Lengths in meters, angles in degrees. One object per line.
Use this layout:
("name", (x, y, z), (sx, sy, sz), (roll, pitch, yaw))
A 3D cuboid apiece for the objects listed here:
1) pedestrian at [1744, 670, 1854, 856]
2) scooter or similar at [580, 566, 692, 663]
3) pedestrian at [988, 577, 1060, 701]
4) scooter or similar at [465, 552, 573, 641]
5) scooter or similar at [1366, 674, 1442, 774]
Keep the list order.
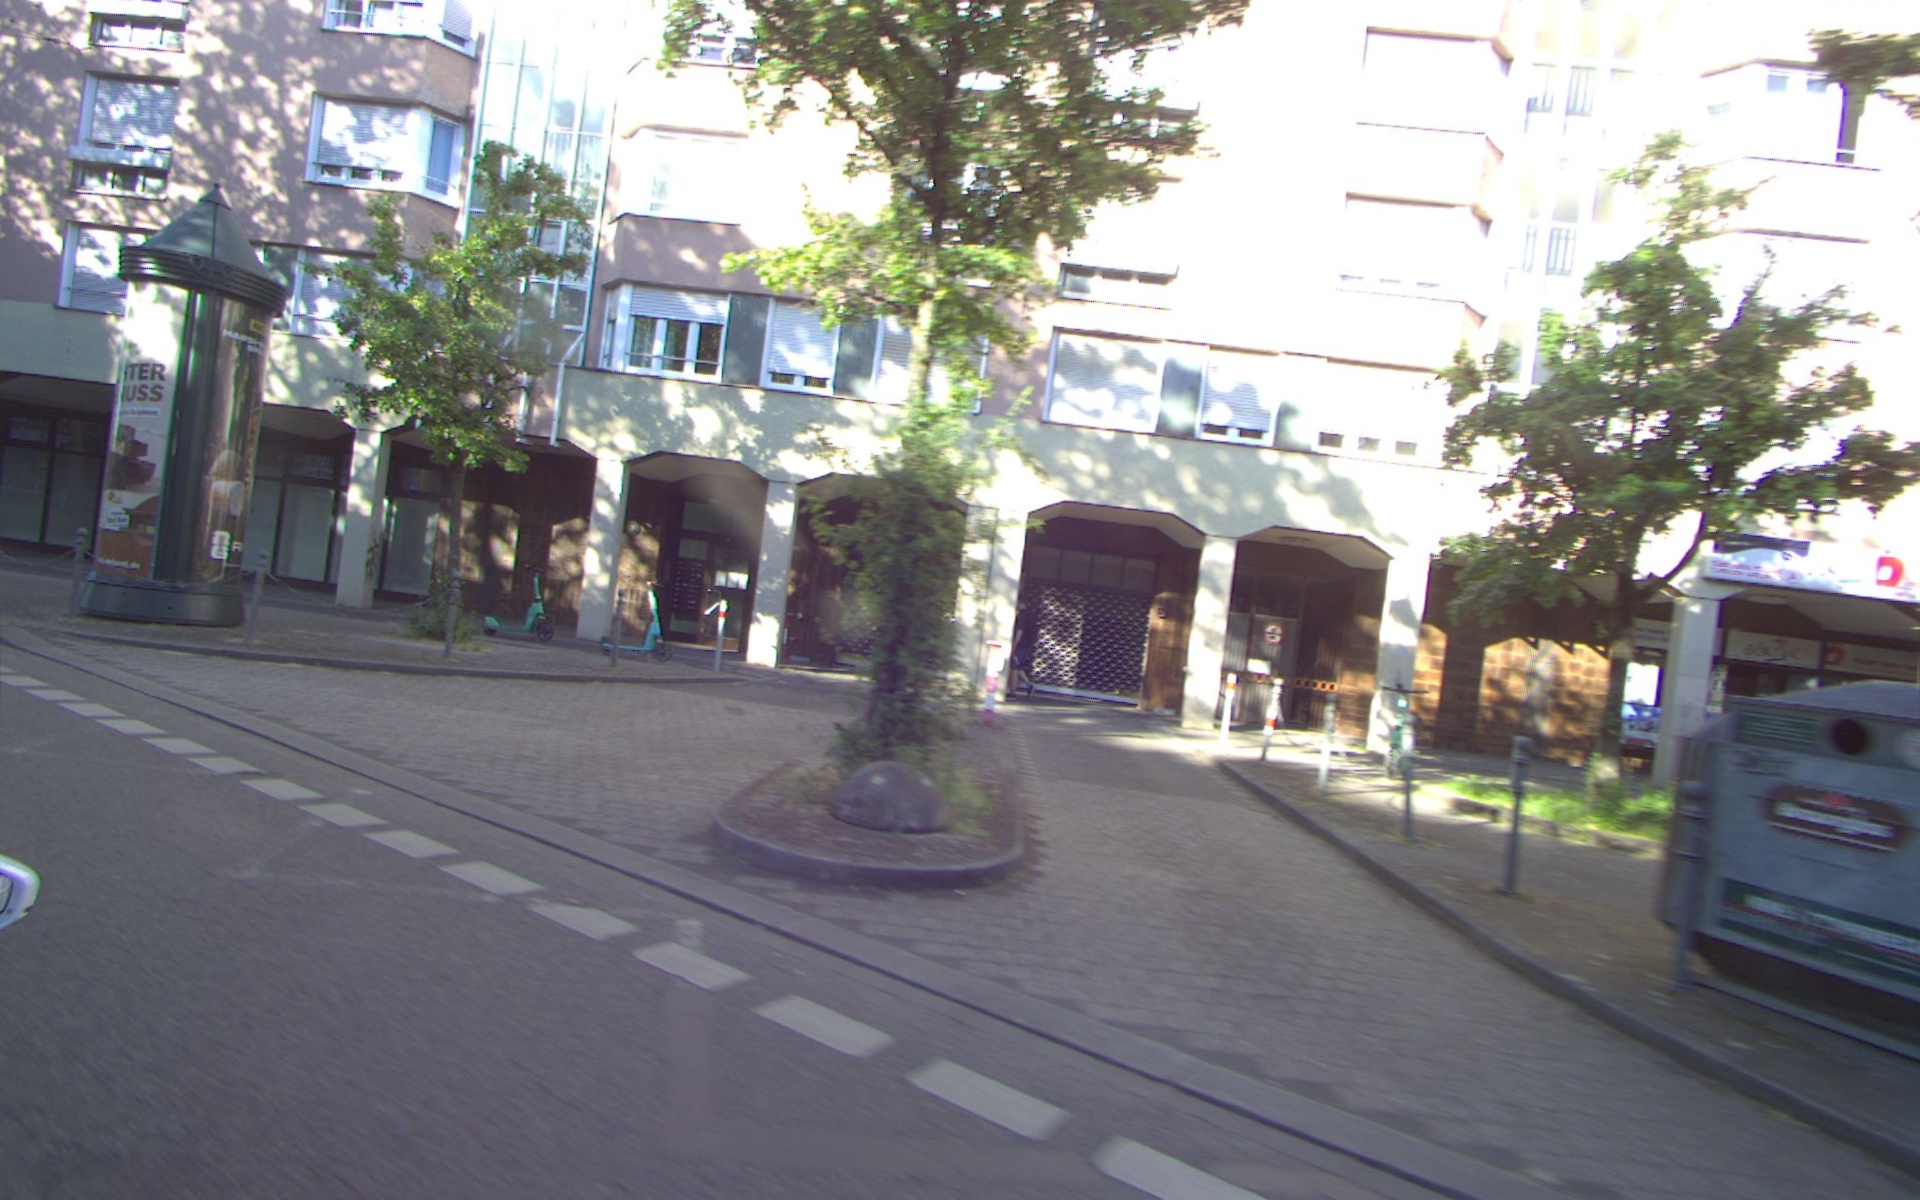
("pedestrian", (9.849, 1.888, 11.818), (0.765, 2.005, 0.638), (8, 0, 42))
("scooter or similar", (-4.979, 0.217, 15.482), (1.423, 1.289, 0.486), (8, 0, 8))
("pedestrian", (1.131, 0.683, 17.541), (0.832, 2.005, 0.818), (7, 0, 18))
("scooter or similar", (-7.058, -0.048, 16.124), (1.423, 1.231, 0.486), (8, 0, 8))
("scooter or similar", (5.799, 1.600, 13.105), (0.550, 1.159, 1.456), (7, -1, 33))
